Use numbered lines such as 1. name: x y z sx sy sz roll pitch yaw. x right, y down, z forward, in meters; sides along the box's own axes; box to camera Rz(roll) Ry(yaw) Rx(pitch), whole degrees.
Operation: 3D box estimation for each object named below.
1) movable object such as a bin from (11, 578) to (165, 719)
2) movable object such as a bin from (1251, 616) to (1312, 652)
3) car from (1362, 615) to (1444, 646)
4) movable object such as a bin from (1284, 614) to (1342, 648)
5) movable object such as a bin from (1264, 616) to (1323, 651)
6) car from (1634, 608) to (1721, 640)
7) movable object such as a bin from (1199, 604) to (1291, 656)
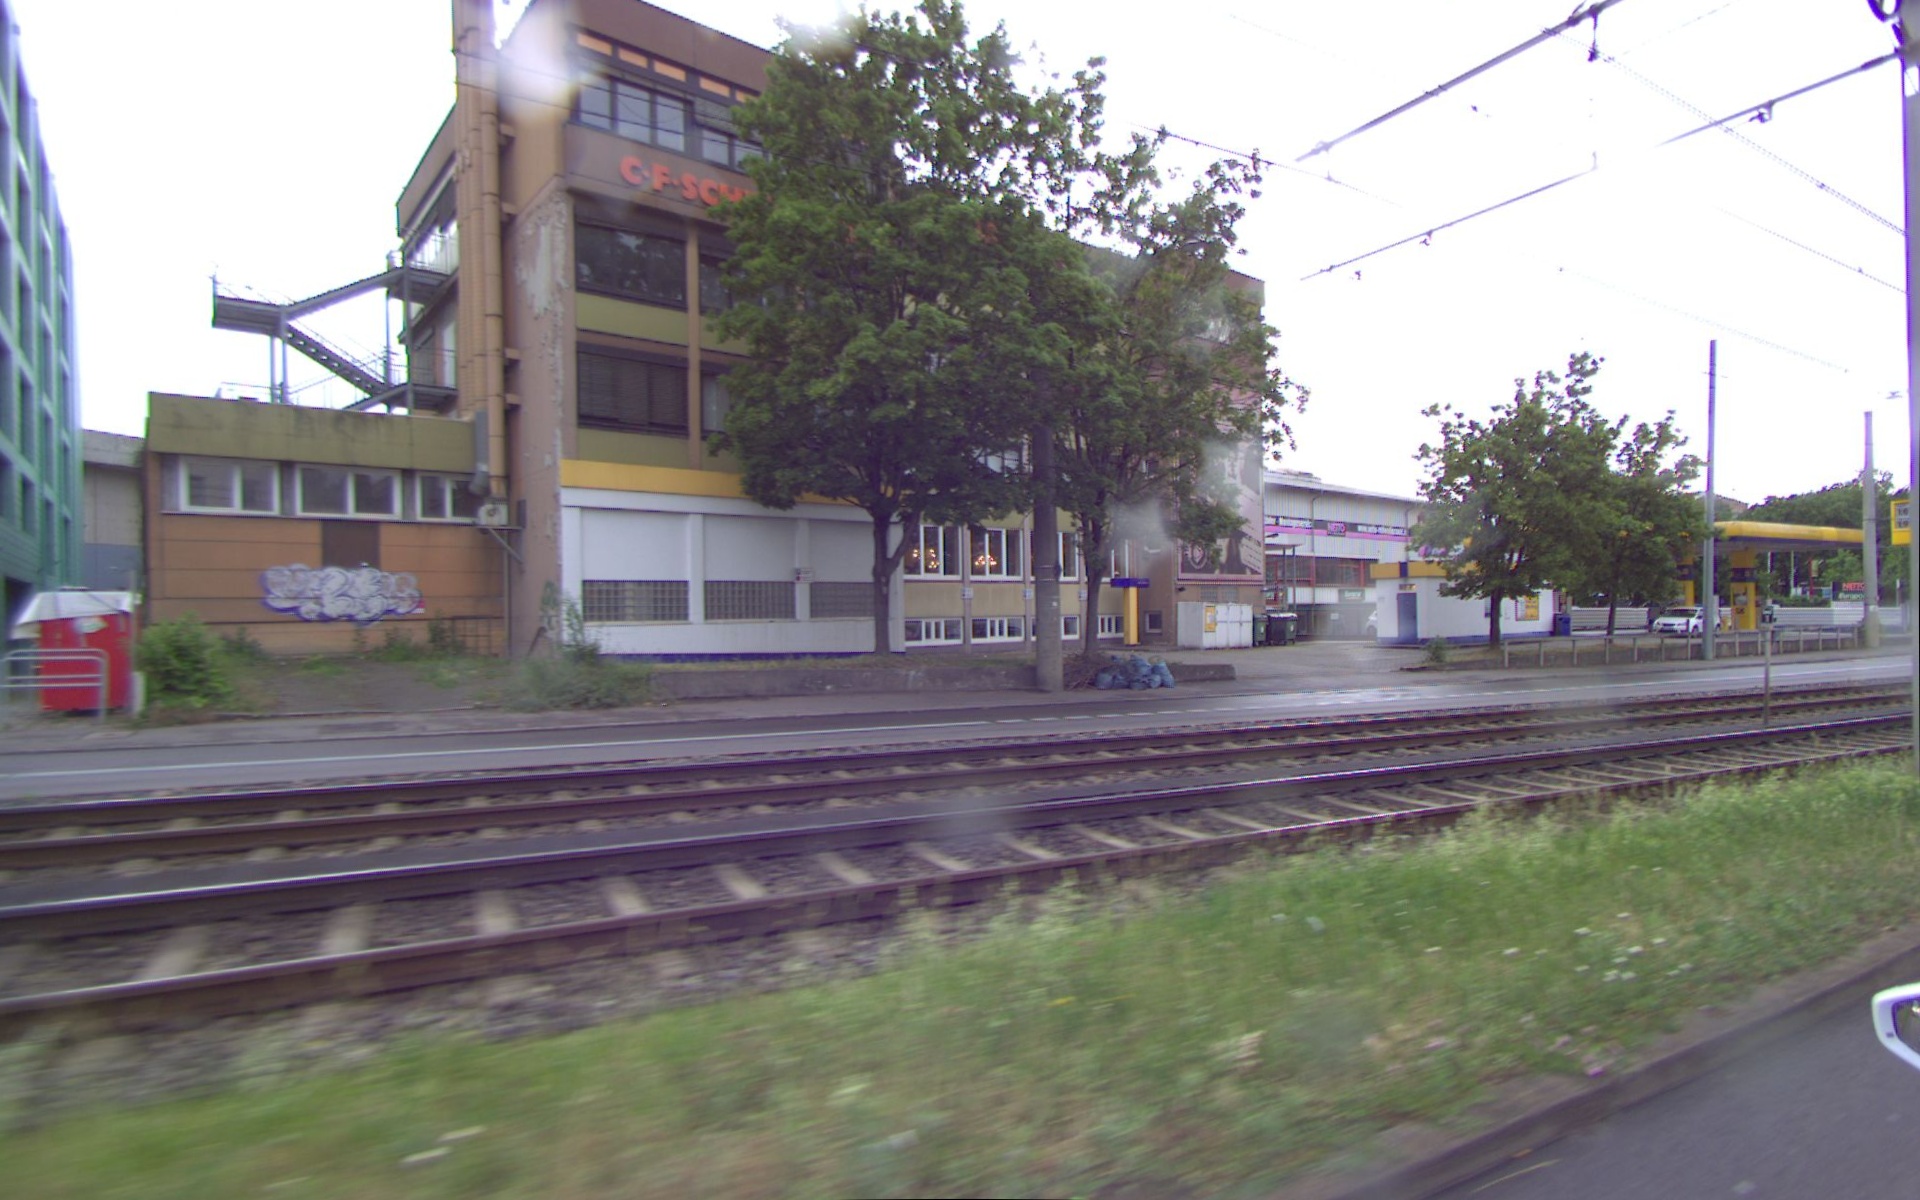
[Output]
1. movable object such as a bin: -14.654 0.734 17.009 1.785 2.186 2.118 -1 2 -37
2. movable object such as a bin: 13.696 1.432 42.833 1.556 1.394 1.977 -1 2 -40
3. car: 23.718 1.598 53.816 3.715 1.499 1.570 2 0 36
4. movable object such as a bin: 15.943 1.373 45.359 1.556 1.394 1.977 -1 2 -40
5. movable object such as a bin: 14.693 1.452 44.263 1.556 1.394 1.977 -1 2 -40
6. car: 34.299 1.143 47.991 3.955 1.461 1.983 1 0 -32
7. movable object such as a bin: 11.663 1.174 41.057 3.542 1.945 1.977 -1 2 -40
